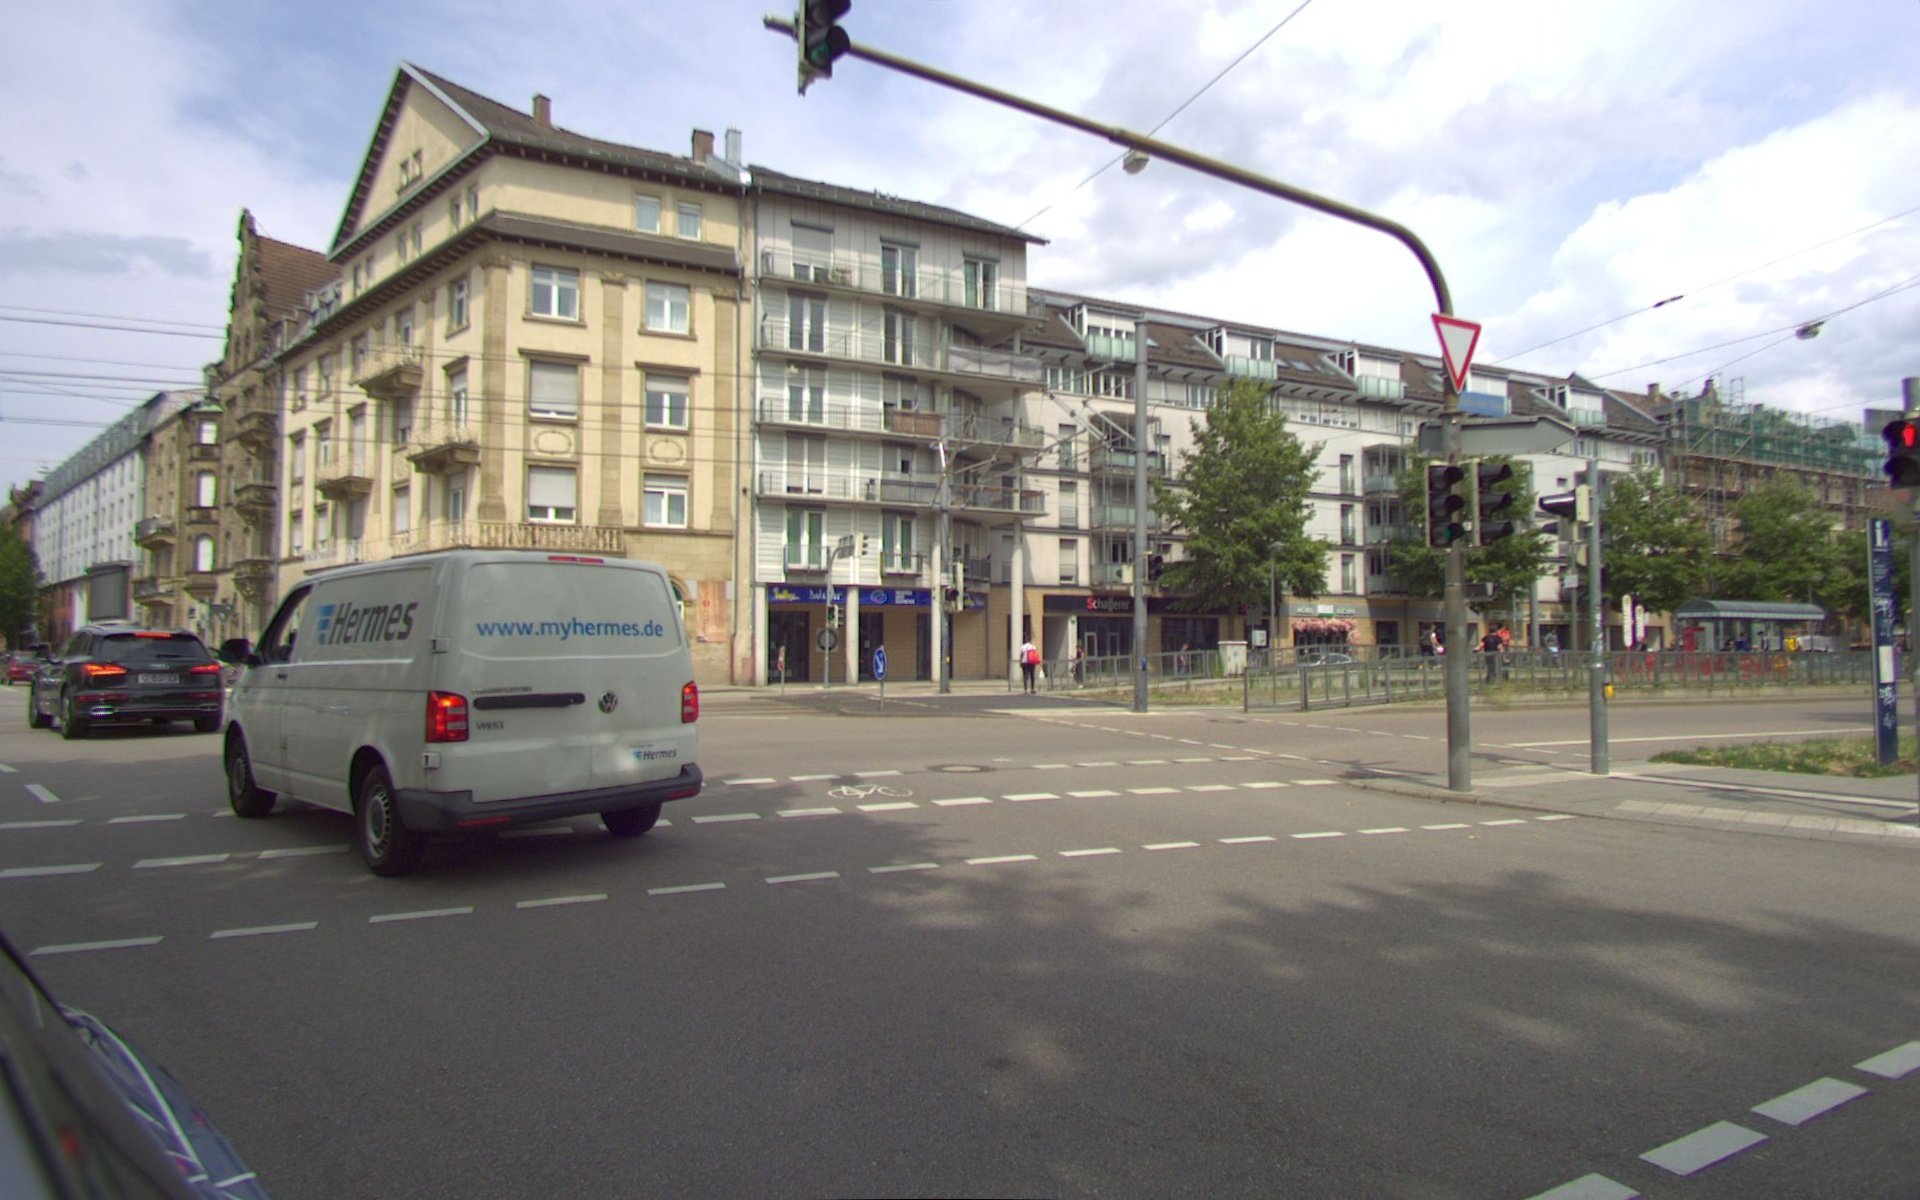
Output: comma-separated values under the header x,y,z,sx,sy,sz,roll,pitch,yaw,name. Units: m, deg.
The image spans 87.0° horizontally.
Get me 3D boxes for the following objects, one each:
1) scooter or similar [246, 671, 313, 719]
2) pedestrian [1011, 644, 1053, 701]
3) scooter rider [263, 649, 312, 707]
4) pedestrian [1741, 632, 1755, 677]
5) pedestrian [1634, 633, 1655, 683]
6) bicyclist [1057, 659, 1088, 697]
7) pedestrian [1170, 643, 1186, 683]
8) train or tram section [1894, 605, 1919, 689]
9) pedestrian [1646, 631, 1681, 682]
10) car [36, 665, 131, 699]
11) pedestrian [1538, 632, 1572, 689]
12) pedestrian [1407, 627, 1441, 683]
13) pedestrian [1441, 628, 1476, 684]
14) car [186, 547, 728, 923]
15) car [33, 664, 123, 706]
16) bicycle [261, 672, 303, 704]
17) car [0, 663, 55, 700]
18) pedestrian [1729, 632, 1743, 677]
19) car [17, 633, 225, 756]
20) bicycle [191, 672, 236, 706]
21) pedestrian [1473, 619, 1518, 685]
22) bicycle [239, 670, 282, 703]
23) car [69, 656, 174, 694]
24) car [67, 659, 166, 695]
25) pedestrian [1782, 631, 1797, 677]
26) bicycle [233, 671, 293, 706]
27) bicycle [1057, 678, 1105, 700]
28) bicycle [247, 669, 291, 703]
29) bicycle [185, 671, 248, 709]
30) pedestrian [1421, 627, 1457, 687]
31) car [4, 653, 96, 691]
x,y,z,sx,sy,sz,roll,pitch,yaw,name
-17.101,2.373,25.400,2.687,1.147,0.731,-4,-5,41,scooter or similar
2.019,2.026,28.339,0.824,1.564,0.870,1,-4,-25,pedestrian
-16.577,1.922,24.951,1.086,1.387,0.731,-4,-5,41,scooter rider
34.545,2.394,44.361,0.307,1.969,0.326,2,-4,-35,pedestrian
28.204,2.377,41.719,0.363,2.029,0.503,1,-4,-25,pedestrian
4.408,3.053,39.661,0.983,1.455,0.643,1,-4,-25,bicyclist
9.688,2.798,44.951,0.558,1.735,0.519,-2,-4,19,pedestrian
41.503,1.973,41.065,7.385,3.341,2.374,2,-5,-24,train or tram section
28.233,2.279,40.617,0.744,2.029,0.763,1,-4,-24,pedestrian
-48.599,4.506,56.219,1.738,1.547,3.820,-4,-1,6,car
23.862,2.420,40.587,0.744,2.267,0.763,1,-4,-24,pedestrian
16.921,2.001,36.927,0.744,2.029,0.763,1,-4,-24,pedestrian
18.495,2.084,37.545,0.744,2.029,0.763,1,-4,-24,pedestrian
-4.033,0.837,7.631,4.944,1.951,1.904,-4,-4,41,car
-32.145,3.087,36.842,4.236,1.442,1.717,-4,-5,39,car
-27.013,3.506,40.347,0.397,1.201,1.328,-4,-5,39,bicycle
-41.575,3.581,44.689,3.996,1.535,1.745,-3,-6,39,car
34.287,2.402,44.719,0.307,1.969,0.326,2,-4,-35,pedestrian
-13.230,1.412,15.875,4.425,1.660,1.803,-4,-4,41,car
-28.141,3.358,38.162,0.397,1.201,1.329,-4,-3,37,bicycle
12.934,1.266,24.472,0.588,1.564,0.672,1,-4,-26,pedestrian
-27.210,3.358,39.379,0.396,1.201,1.330,-4,-2,35,bicycle
-41.206,3.659,49.816,1.738,1.547,3.820,-4,-1,6,car
-43.731,3.963,52.565,1.738,1.547,3.820,-4,-1,6,car
36.245,2.366,44.232,0.307,1.969,0.326,2,-4,-35,pedestrian
-26.425,3.360,38.391,0.397,1.201,1.807,-5,-3,40,bicycle
4.764,3.479,39.788,1.760,0.822,0.654,1,-4,-25,bicycle
-26.666,3.329,39.091,0.396,1.201,1.330,-4,-2,35,bicycle
-27.695,3.338,37.712,0.397,1.201,1.800,-4,0,37,bicycle
16.688,1.987,35.267,0.744,2.029,0.763,1,-4,-24,pedestrian
-53.393,4.198,59.472,1.738,1.908,3.820,-4,-1,6,car
